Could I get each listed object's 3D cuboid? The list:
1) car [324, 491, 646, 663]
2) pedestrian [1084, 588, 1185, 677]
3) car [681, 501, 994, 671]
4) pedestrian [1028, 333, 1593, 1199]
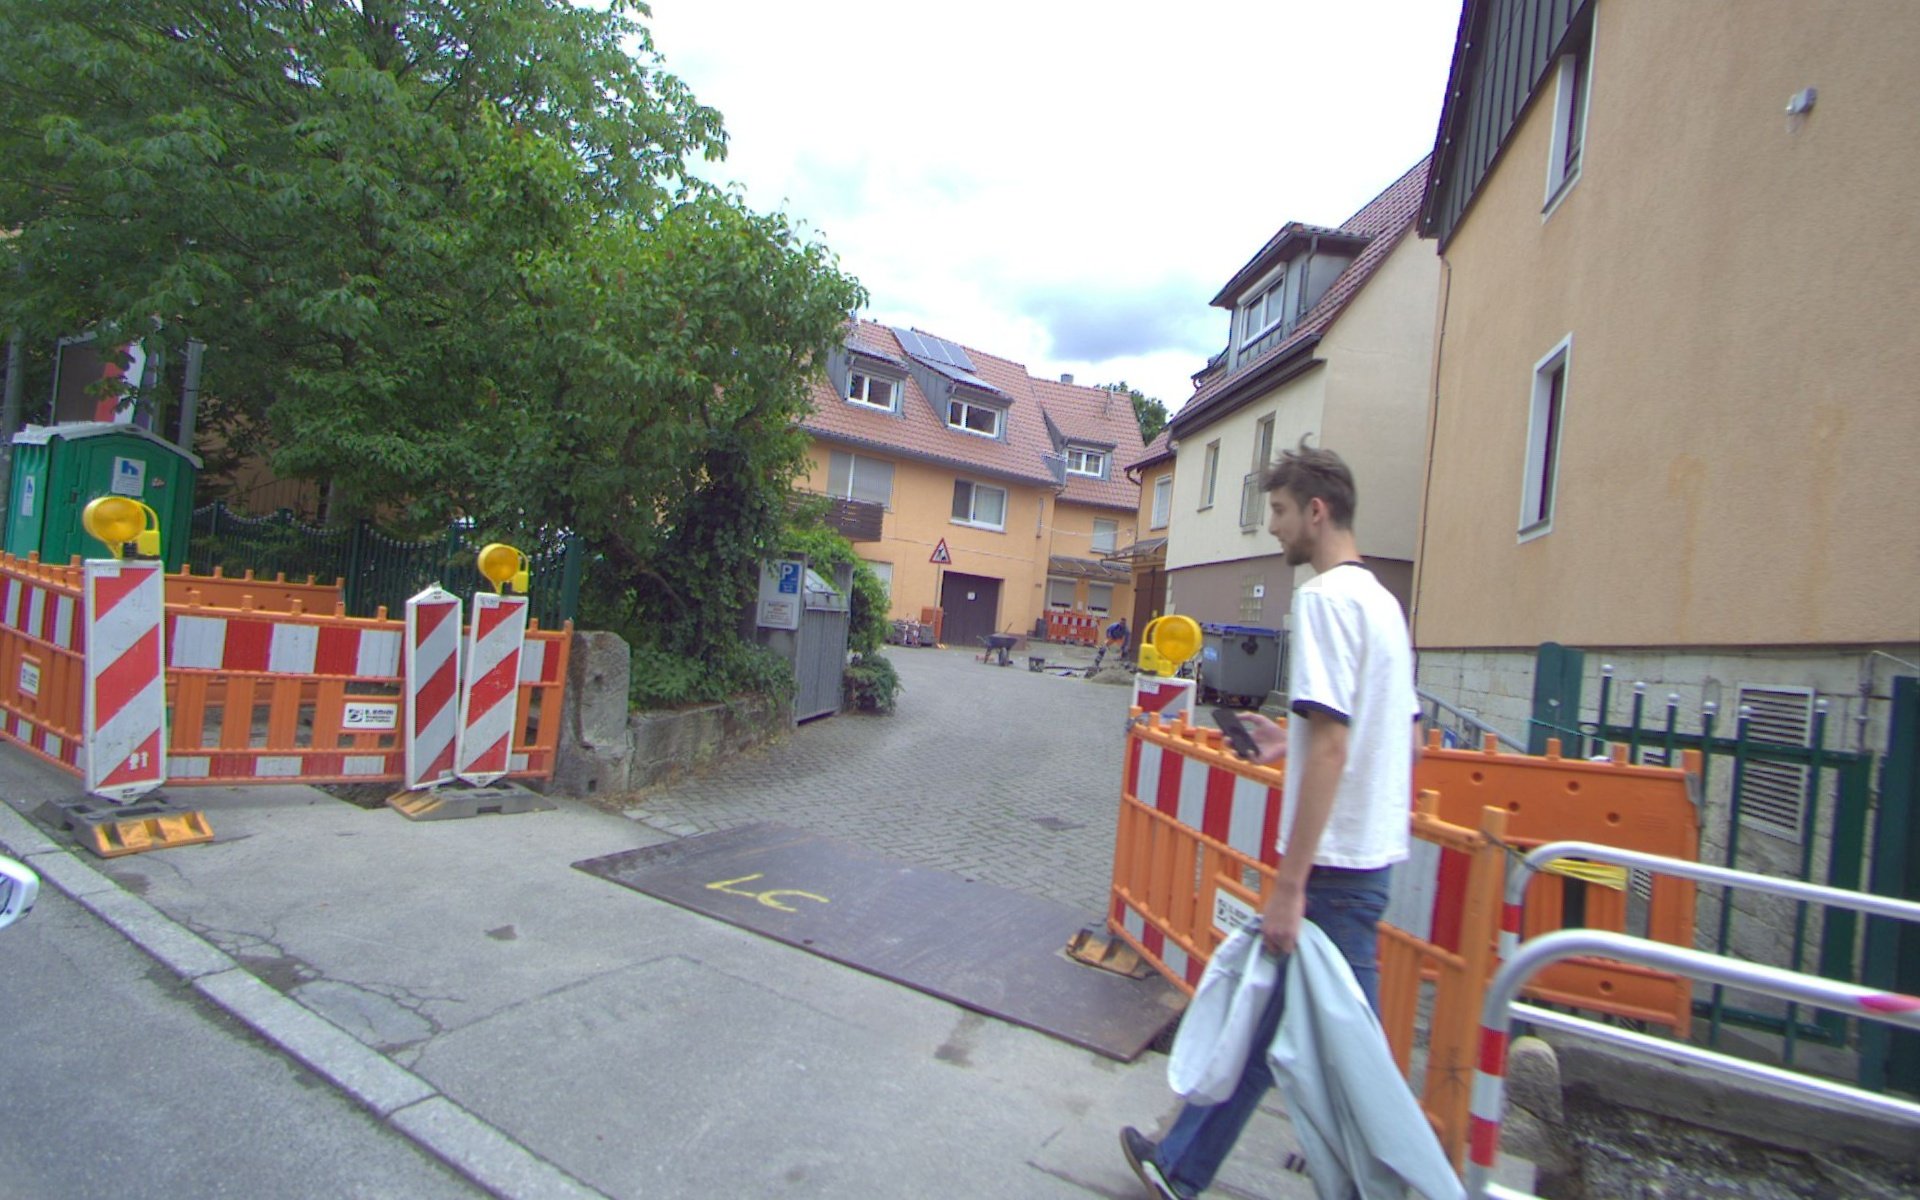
[{"bbox_3d":[-7.393,-0.292,15.908,4.179,2.058,1.986,7,-1,-28],"label":"car"},{"bbox_3d":[4.570,0.860,26.248,1.801,2.038,1.996,7,0,31],"label":"pedestrian"},{"bbox_3d":[-1.293,-0.063,12.381,1.717,1.581,3.996,6,-1,28],"label":"car"},{"bbox_3d":[0.780,0.522,2.241,0.822,1.974,0.799,7,1,30],"label":"pedestrian"}]
